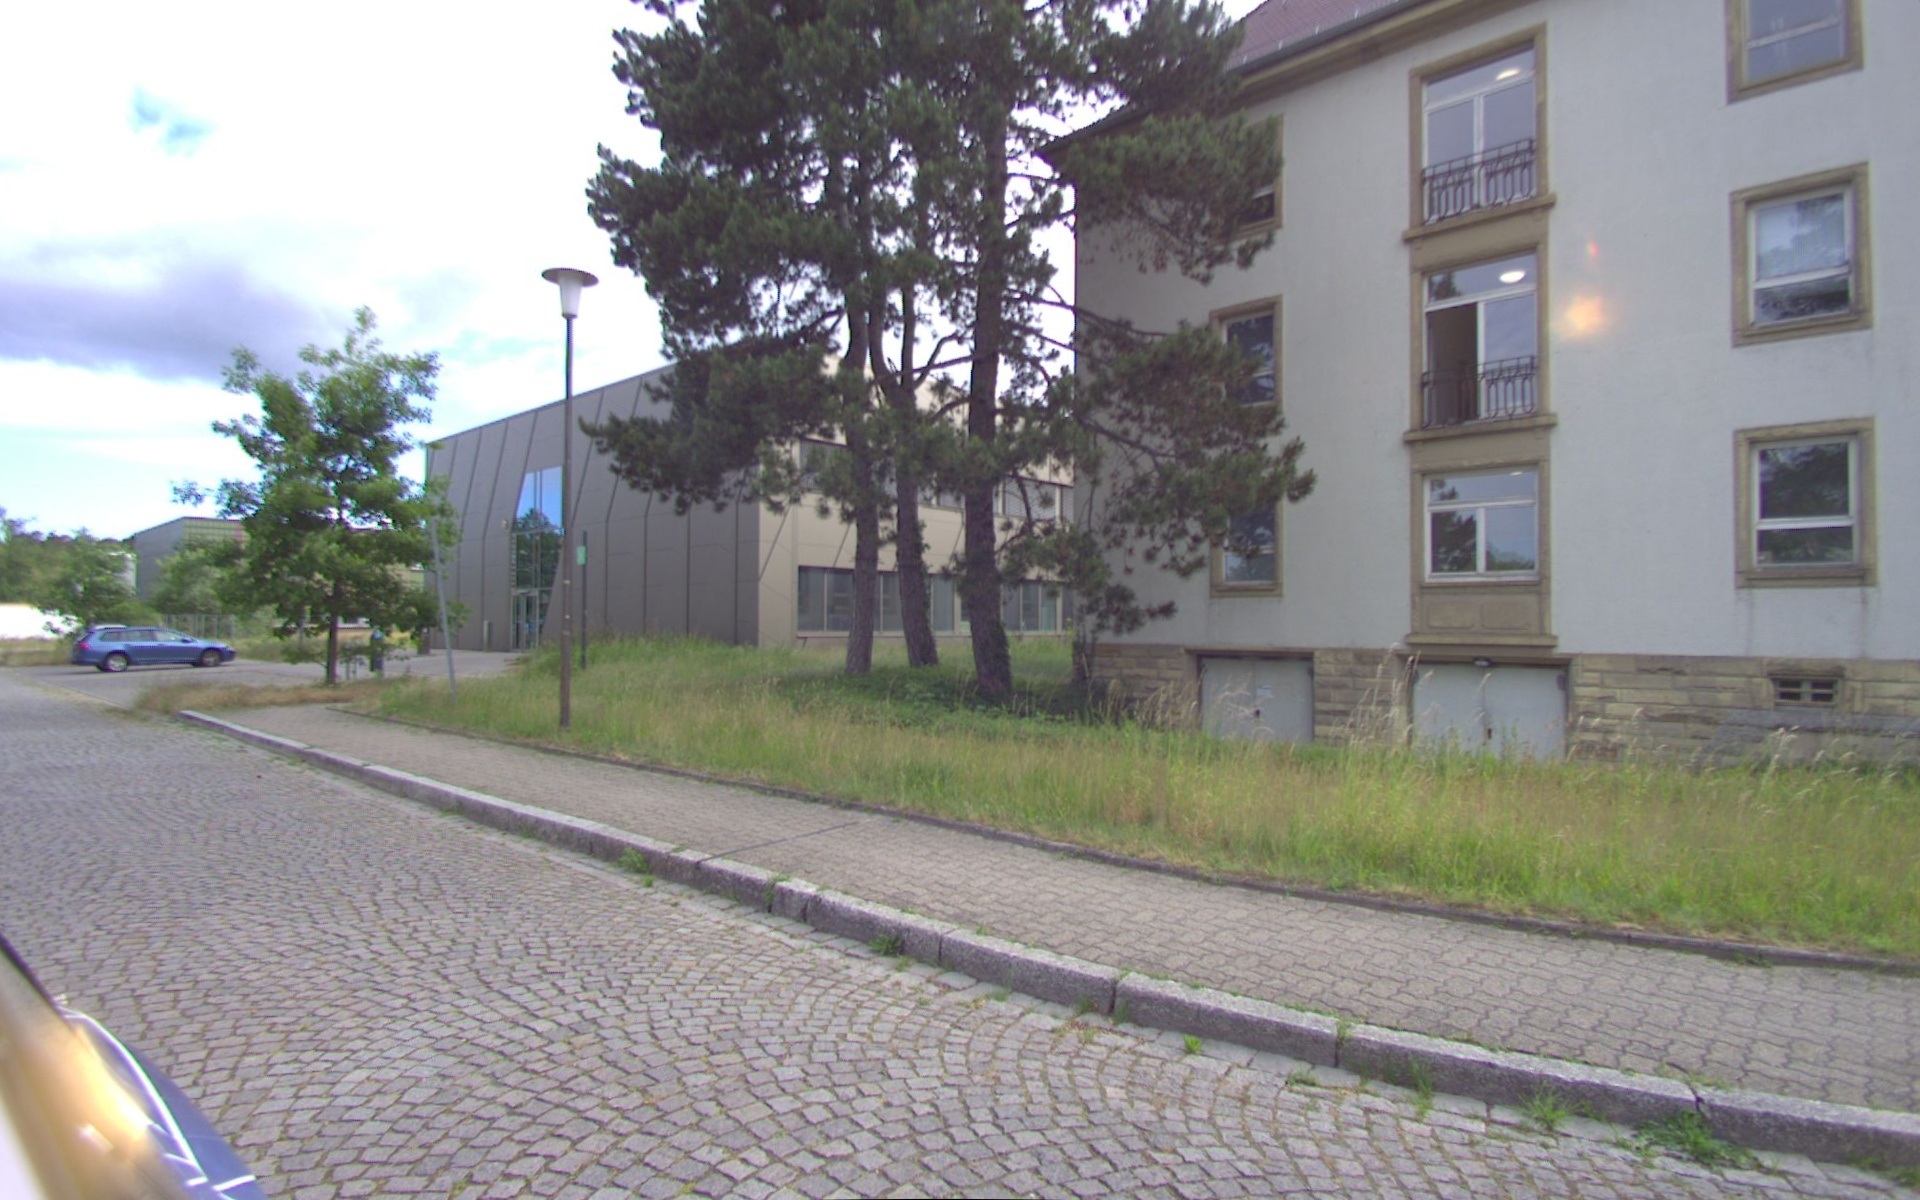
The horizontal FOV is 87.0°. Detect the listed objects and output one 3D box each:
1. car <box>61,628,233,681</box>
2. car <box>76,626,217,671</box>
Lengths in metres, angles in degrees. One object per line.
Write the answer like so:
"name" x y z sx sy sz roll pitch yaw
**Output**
"car" -27.871 1.816 34.796 1.715 1.521 4.348 -1 0 39
"car" -32.660 1.911 40.717 4.338 1.557 1.844 -2 0 -41
